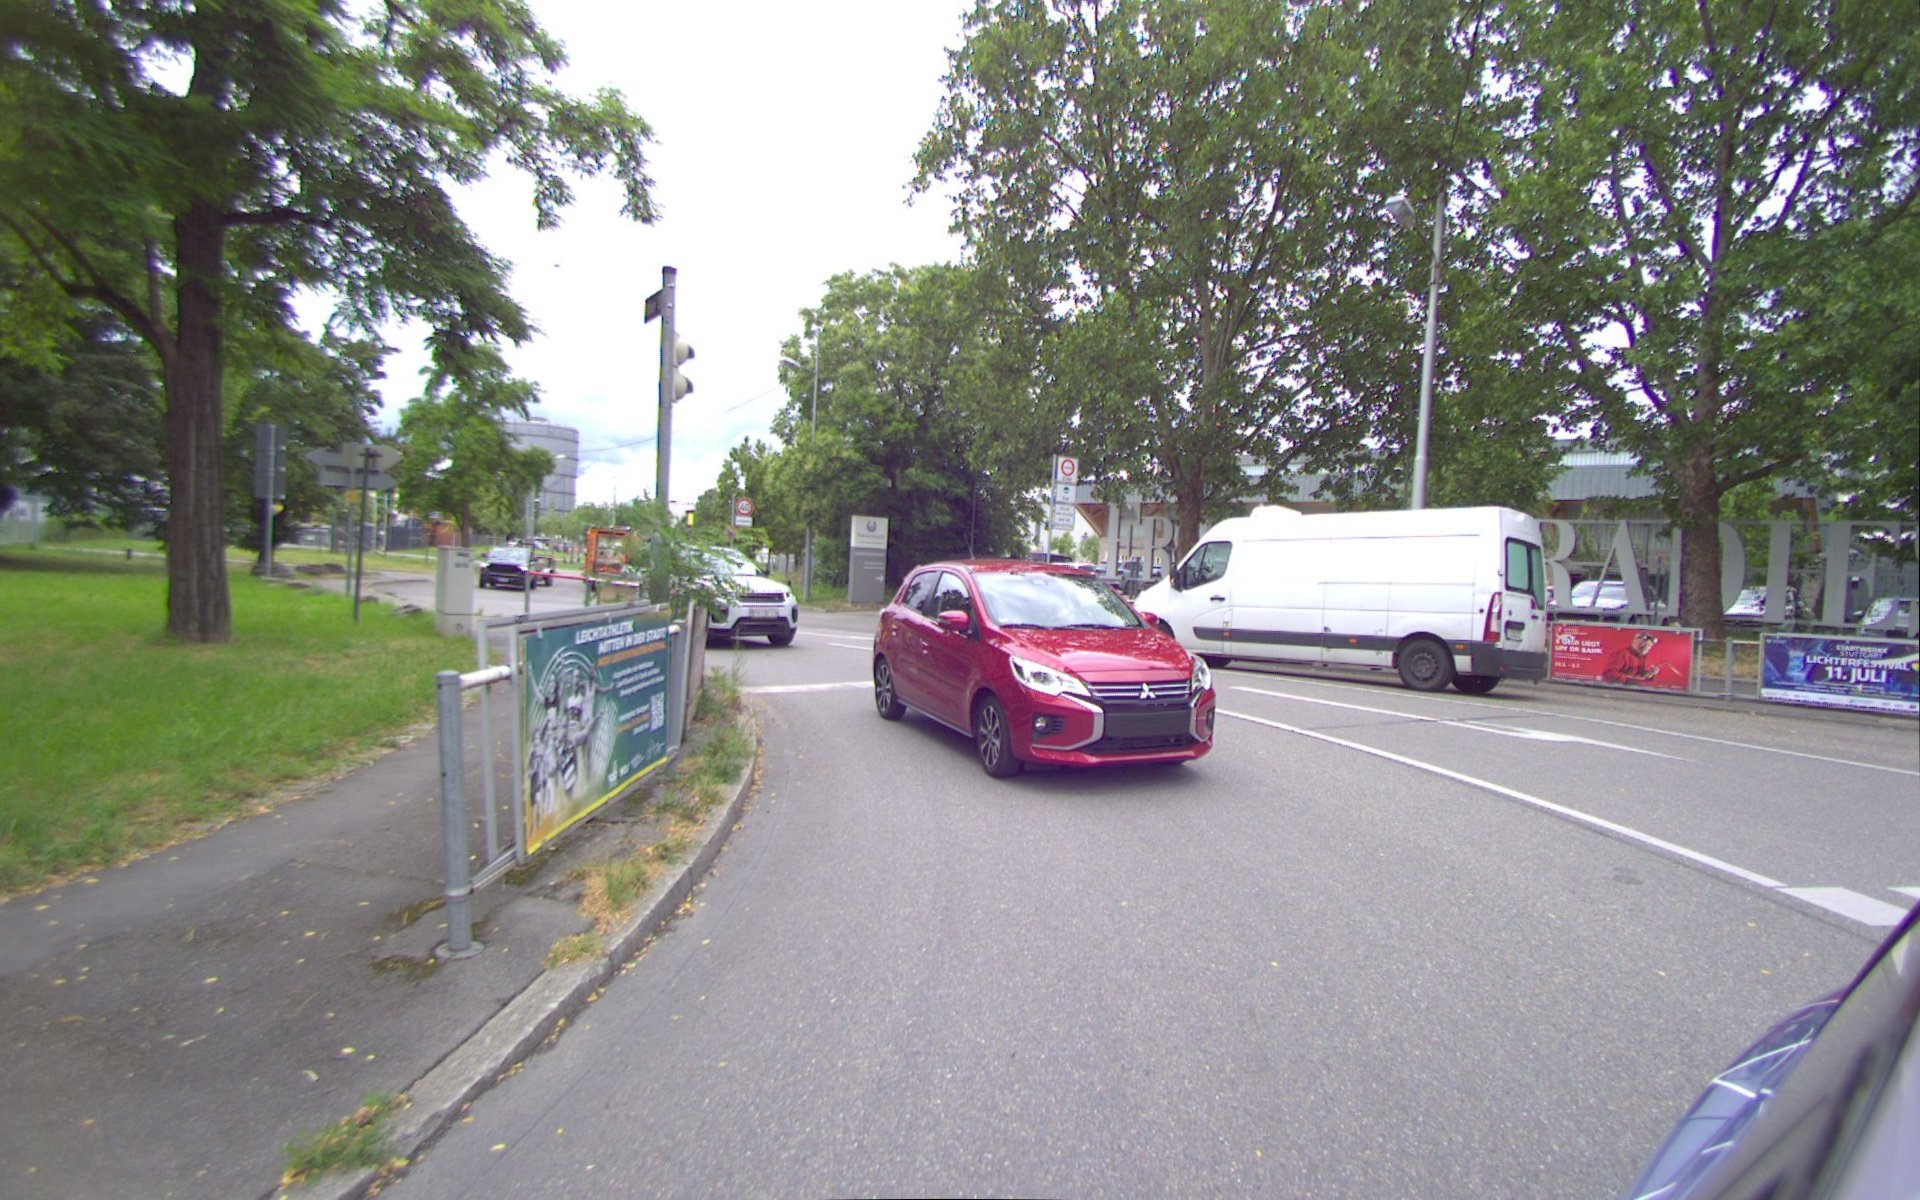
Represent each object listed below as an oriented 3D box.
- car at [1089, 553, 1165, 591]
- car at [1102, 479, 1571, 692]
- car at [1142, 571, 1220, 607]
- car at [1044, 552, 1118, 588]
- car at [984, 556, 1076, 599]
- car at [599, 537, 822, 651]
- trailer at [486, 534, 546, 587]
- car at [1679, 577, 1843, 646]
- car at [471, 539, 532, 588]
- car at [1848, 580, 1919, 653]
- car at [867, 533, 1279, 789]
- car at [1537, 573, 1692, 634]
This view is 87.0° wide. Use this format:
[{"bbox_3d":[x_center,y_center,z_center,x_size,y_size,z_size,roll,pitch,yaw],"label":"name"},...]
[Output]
[{"bbox_3d":[8.591,-1.401,51.793,1.911,1.721,3.937,5,3,43],"label":"car"},{"bbox_3d":[5.342,-0.199,15.431,2.155,2.573,6.472,0,0,-41],"label":"car"},{"bbox_3d":[10.823,-0.525,49.331,1.911,1.526,3.937,5,3,43],"label":"car"},{"bbox_3d":[6.528,-1.594,54.390,1.911,1.721,3.937,5,3,43],"label":"car"},{"bbox_3d":[2.982,-0.943,42.854,1.911,1.595,3.713,5,3,43],"label":"car"},{"bbox_3d":[-4.323,-0.197,17.145,1.885,1.588,4.106,0,4,-43],"label":"car"},{"bbox_3d":[-22.367,-2.019,51.163,2.105,2.416,5.402,3,2,-18],"label":"trailer"},{"bbox_3d":[18.915,0.226,23.833,4.614,1.476,1.999,-1,0,-38],"label":"car"},{"bbox_3d":[-20.623,-1.714,45.741,1.910,2.003,5.887,1,3,-19],"label":"car"},{"bbox_3d":[21.017,0.309,22.065,4.620,1.476,1.996,-1,1,-42],"label":"car"},{"bbox_3d":[0.617,0.304,8.164,1.731,1.549,3.749,1,2,-21],"label":"car"},{"bbox_3d":[17.136,0.057,26.427,4.614,1.476,1.999,-1,0,-38],"label":"car"}]
